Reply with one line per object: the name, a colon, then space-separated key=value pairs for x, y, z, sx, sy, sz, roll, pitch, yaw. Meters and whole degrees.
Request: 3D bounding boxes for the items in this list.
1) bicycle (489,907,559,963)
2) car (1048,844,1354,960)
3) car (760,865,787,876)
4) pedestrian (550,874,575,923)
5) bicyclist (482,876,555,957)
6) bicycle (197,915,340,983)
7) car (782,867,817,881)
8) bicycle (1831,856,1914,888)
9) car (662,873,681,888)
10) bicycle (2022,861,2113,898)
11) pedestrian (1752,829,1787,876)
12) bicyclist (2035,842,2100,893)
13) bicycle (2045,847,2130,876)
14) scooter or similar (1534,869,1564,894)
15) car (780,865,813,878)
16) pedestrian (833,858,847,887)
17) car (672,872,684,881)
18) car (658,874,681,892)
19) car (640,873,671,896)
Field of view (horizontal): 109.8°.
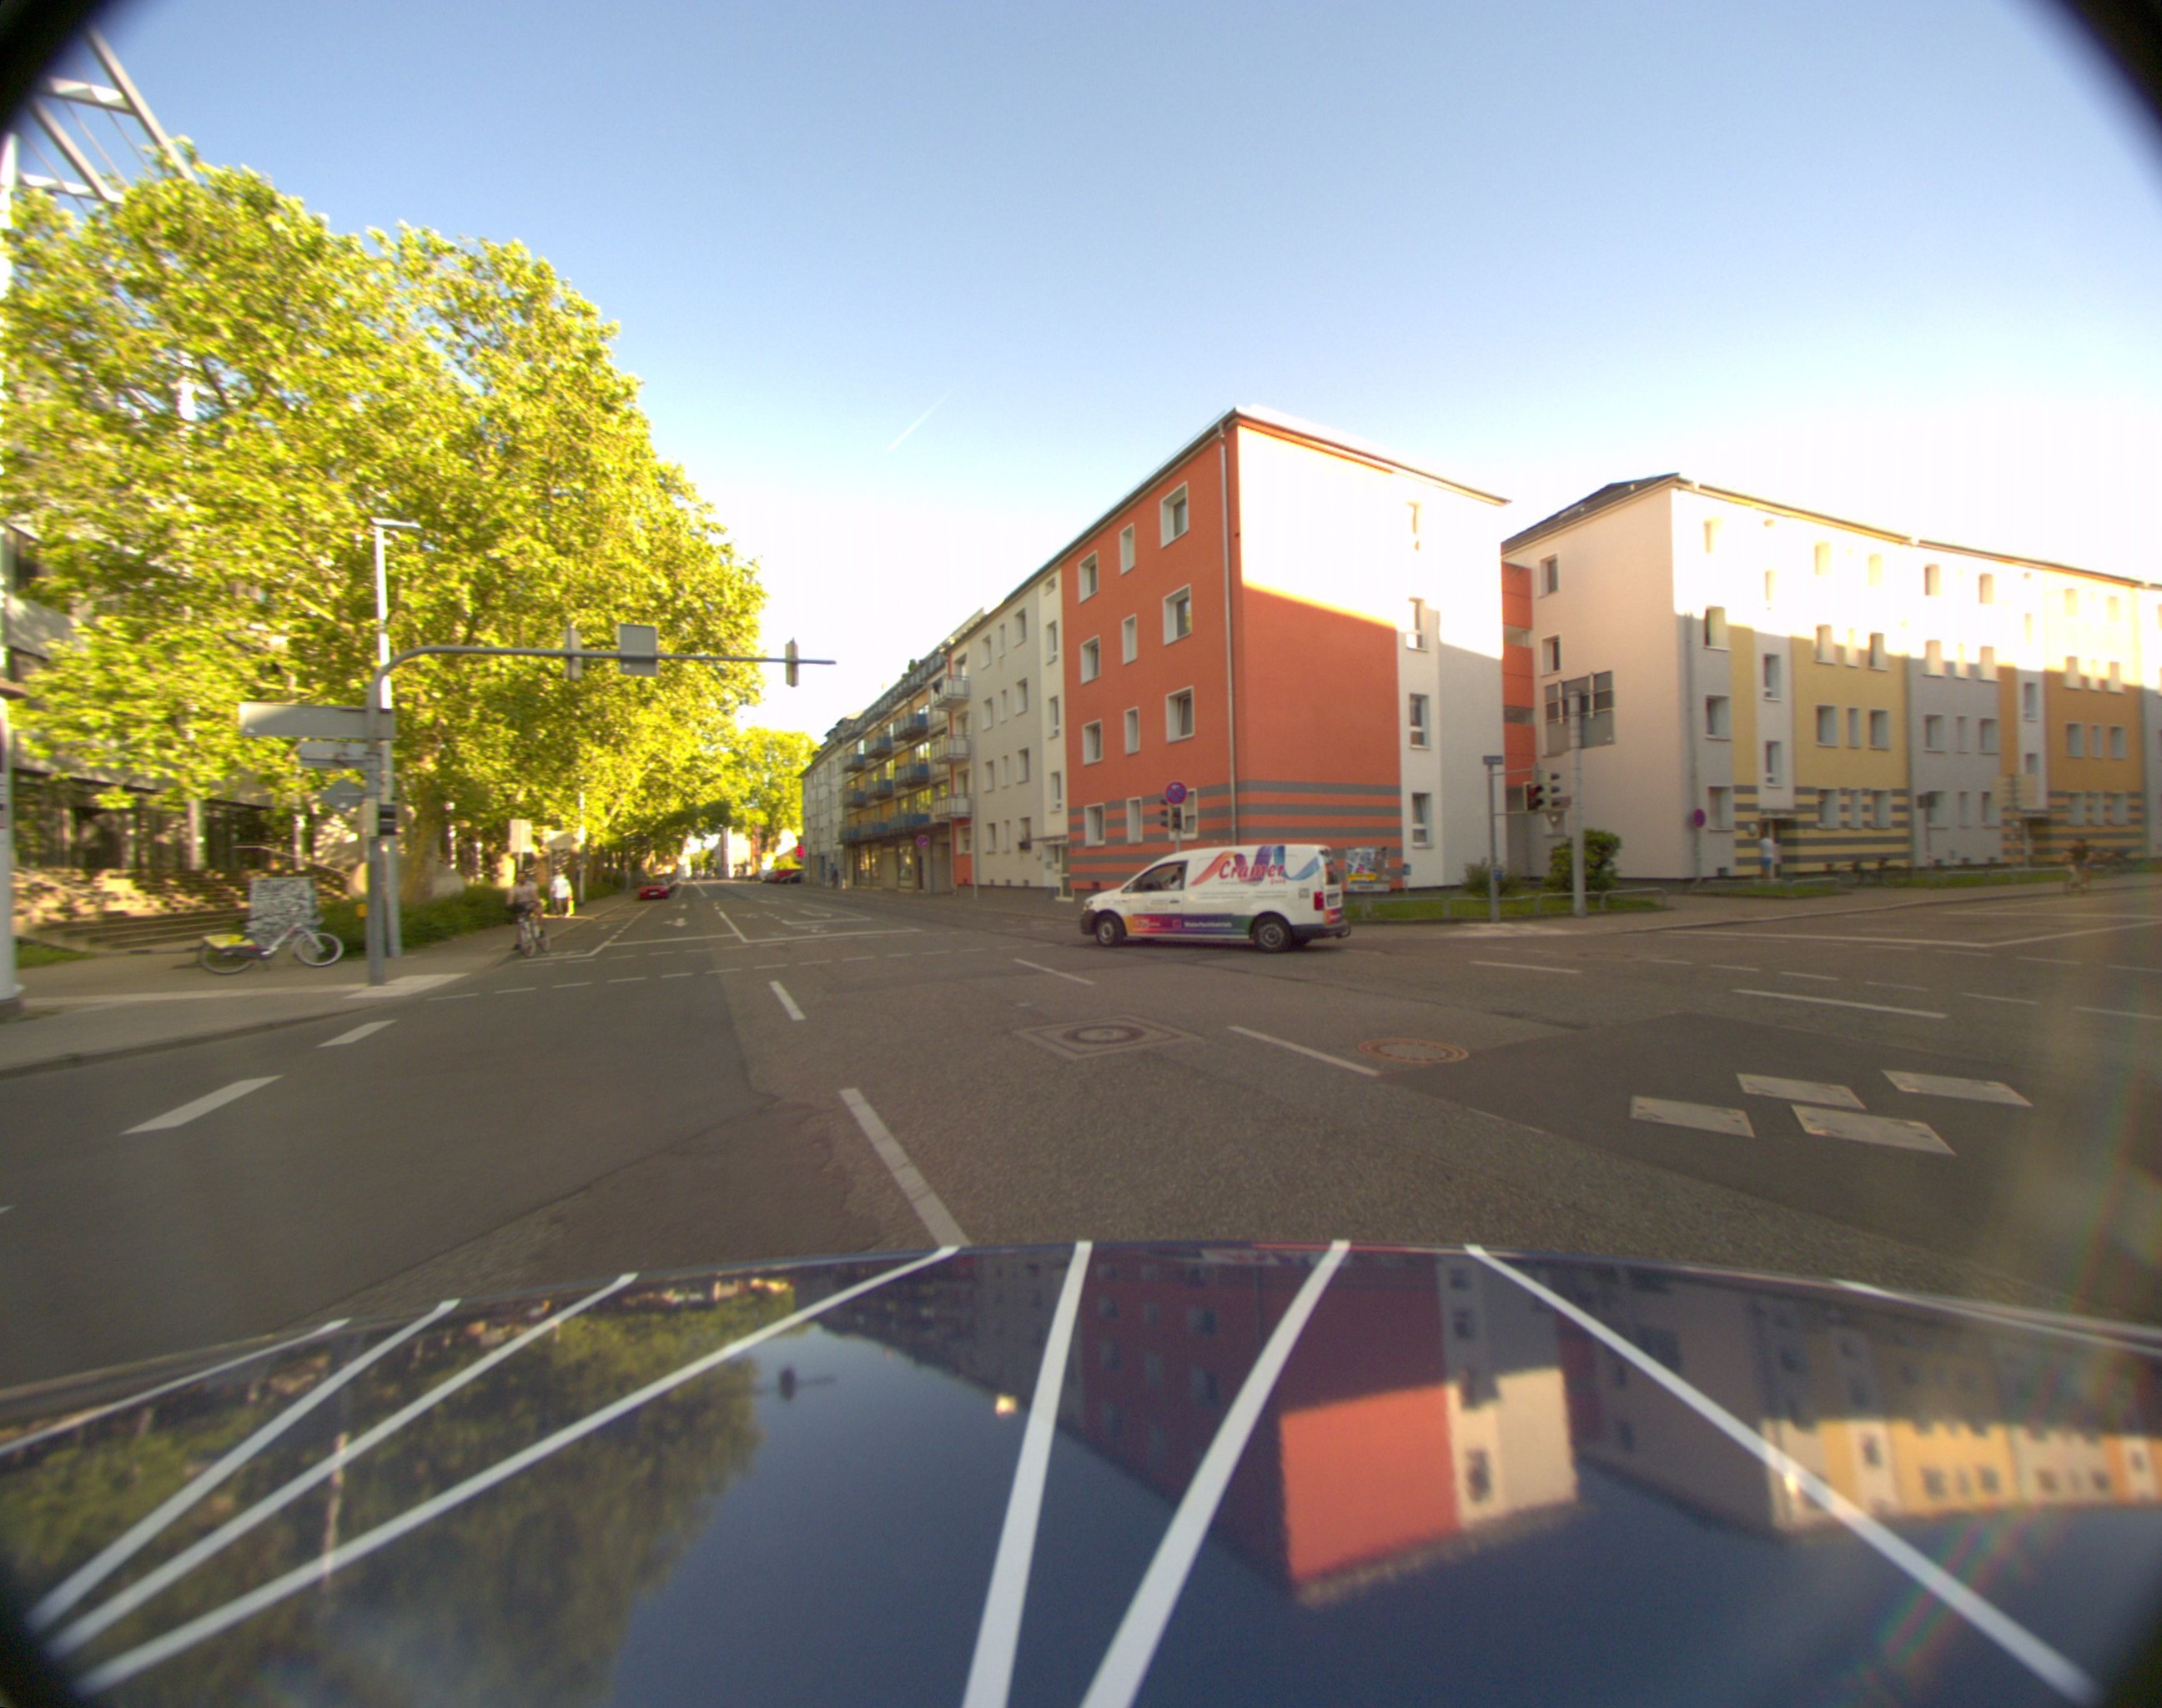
bicycle: x=-12.124 y=1.729 z=16.599 sx=0.705 sy=1.060 sz=1.925 roll=-2 pitch=-2 yaw=-20
car: x=2.123 y=0.854 z=13.879 sx=5.112 sy=1.805 sz=2.004 roll=-2 pitch=-2 yaw=28
car: x=-50.279 y=2.740 z=124.201 sx=4.005 sy=1.689 sz=1.830 roll=-1 pitch=0 yaw=-26
pedestrian: x=-19.732 y=1.674 z=28.913 sx=0.672 sy=1.786 sz=0.664 roll=-5 pitch=3 yaw=-34
bicyclist: x=-12.126 y=1.319 z=16.418 sx=0.951 sy=1.630 sz=1.006 roll=-2 pitch=1 yaw=-20
bicycle: x=-14.155 y=1.631 z=13.283 sx=0.620 sy=0.993 sz=1.640 roll=2 pitch=0 yaw=37
car: x=-35.951 y=2.549 z=97.162 sx=4.005 sy=1.689 sz=1.830 roll=-1 pitch=0 yaw=-26
bicycle: x=25.307 y=0.562 z=24.314 sx=0.541 sy=0.987 sz=1.755 roll=-2 pitch=1 yaw=-31
car: x=-46.687 y=3.003 z=86.767 sx=1.790 sy=1.520 sz=4.647 roll=-2 pitch=0 yaw=-28
bicycle: x=27.388 y=0.722 z=21.106 sx=1.994 sy=0.992 sz=0.789 roll=1 pitch=-3 yaw=-15
pedestrian: x=21.571 y=-0.048 z=23.824 sx=0.599 sy=1.452 sz=0.560 roll=-1 pitch=0 yaw=-15
bicyclist: x=27.430 y=0.390 z=21.131 sx=0.839 sy=1.364 sz=0.791 roll=0 pitch=-3 yaw=-14
bicycle: x=38.717 y=0.284 z=29.262 sx=0.712 sy=1.063 sz=1.871 roll=-3 pitch=0 yaw=-28
scooter or similar: x=15.095 y=0.896 z=24.512 sx=0.301 sy=0.783 sz=0.743 roll=-3 pitch=1 yaw=-43
car: x=-38.239 y=2.326 z=102.015 sx=4.005 sy=1.689 sz=1.830 roll=-1 pitch=0 yaw=-26
pedestrian: x=-20.165 y=1.516 z=63.504 sx=0.916 sy=2.382 sz=1.085 roll=-1 pitch=0 yaw=-28
car: x=-69.925 y=3.853 z=131.932 sx=1.790 sy=1.520 sz=4.647 roll=-2 pitch=0 yaw=-28
car: x=-38.871 y=2.714 z=71.880 sx=1.790 sy=1.520 sz=4.647 roll=-2 pitch=0 yaw=-28
car: x=-30.066 y=2.104 z=53.751 sx=1.790 sy=1.520 sz=4.647 roll=-2 pitch=0 yaw=-29
